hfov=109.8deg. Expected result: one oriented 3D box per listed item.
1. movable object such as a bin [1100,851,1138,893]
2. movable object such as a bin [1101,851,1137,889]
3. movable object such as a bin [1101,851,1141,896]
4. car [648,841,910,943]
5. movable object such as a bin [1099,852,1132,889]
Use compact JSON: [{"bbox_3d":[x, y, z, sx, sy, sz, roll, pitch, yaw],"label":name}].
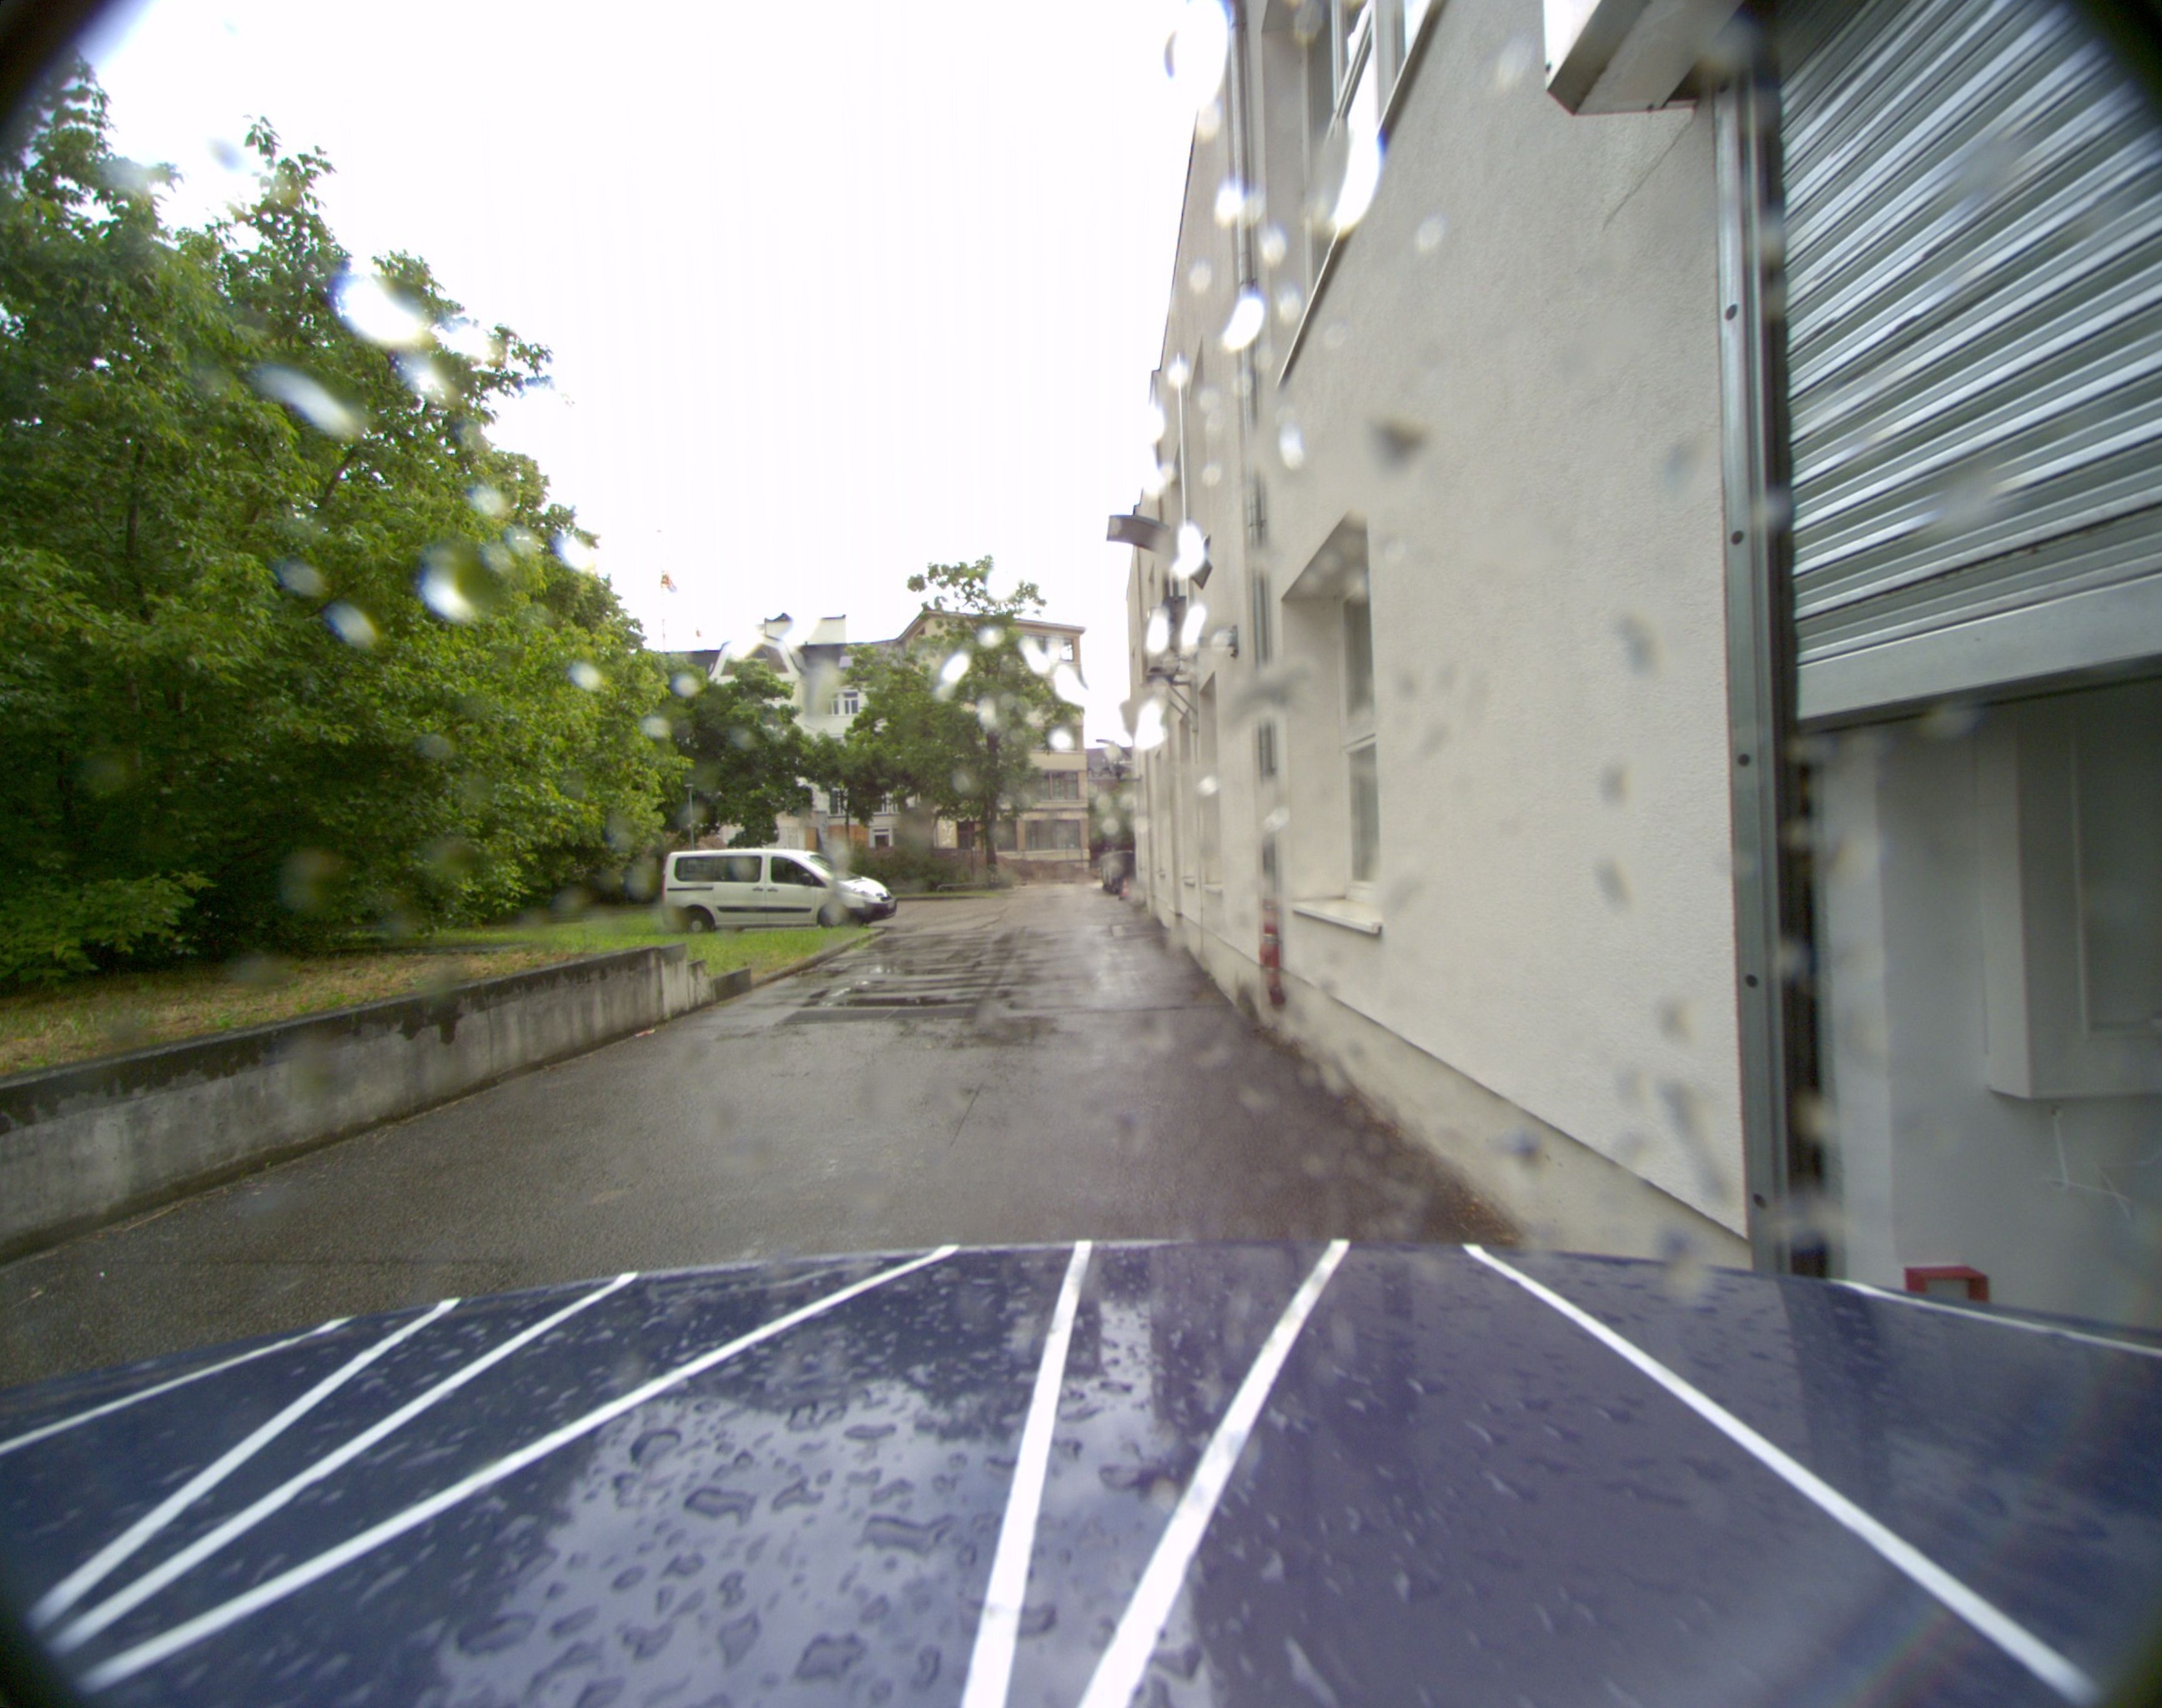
[{"bbox_3d":[1.375,0.638,27.774,1.168,1.474,1.496,-1,1,-5],"label":"movable object such as a bin"},{"bbox_3d":[1.510,0.646,30.676,1.168,1.474,1.402,-3,-1,-6],"label":"movable object such as a bin"},{"bbox_3d":[1.345,0.638,26.136,1.168,1.474,1.593,-1,1,-5],"label":"movable object such as a bin"},{"bbox_3d":[-6.570,0.788,16.967,4.885,1.915,2.099,-3,1,2],"label":"car"},{"bbox_3d":[1.484,0.664,32.215,1.103,1.464,1.486,-3,1,11],"label":"movable object such as a bin"}]
